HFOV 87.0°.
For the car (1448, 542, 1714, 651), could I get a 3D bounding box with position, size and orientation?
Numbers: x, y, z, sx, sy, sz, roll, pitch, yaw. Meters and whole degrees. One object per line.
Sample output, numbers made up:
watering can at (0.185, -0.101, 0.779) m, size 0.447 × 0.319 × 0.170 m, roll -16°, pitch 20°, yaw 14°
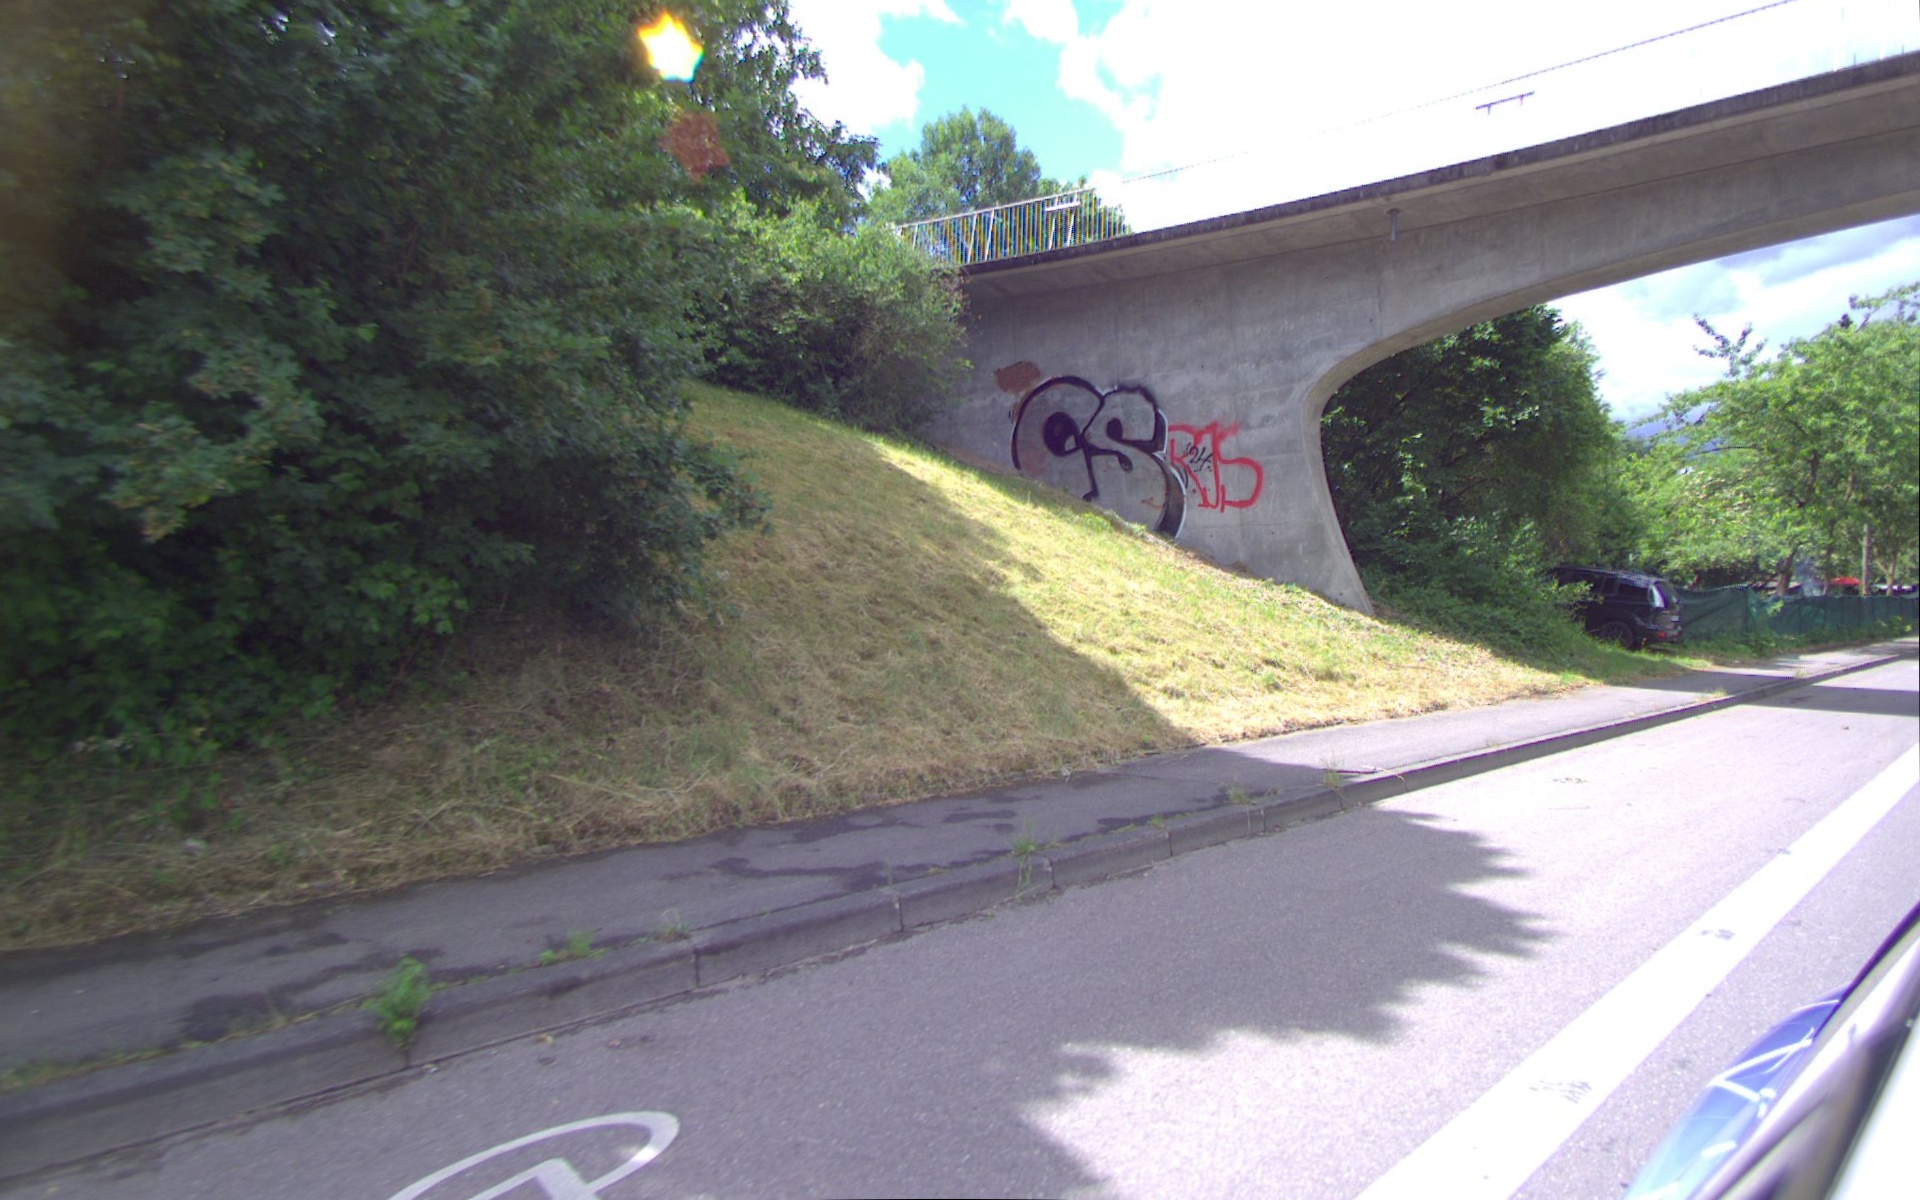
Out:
car at (13.749, -0.205, 22.663) m, size 1.964 × 1.689 × 4.543 m, roll -3°, pitch 10°, yaw -38°
